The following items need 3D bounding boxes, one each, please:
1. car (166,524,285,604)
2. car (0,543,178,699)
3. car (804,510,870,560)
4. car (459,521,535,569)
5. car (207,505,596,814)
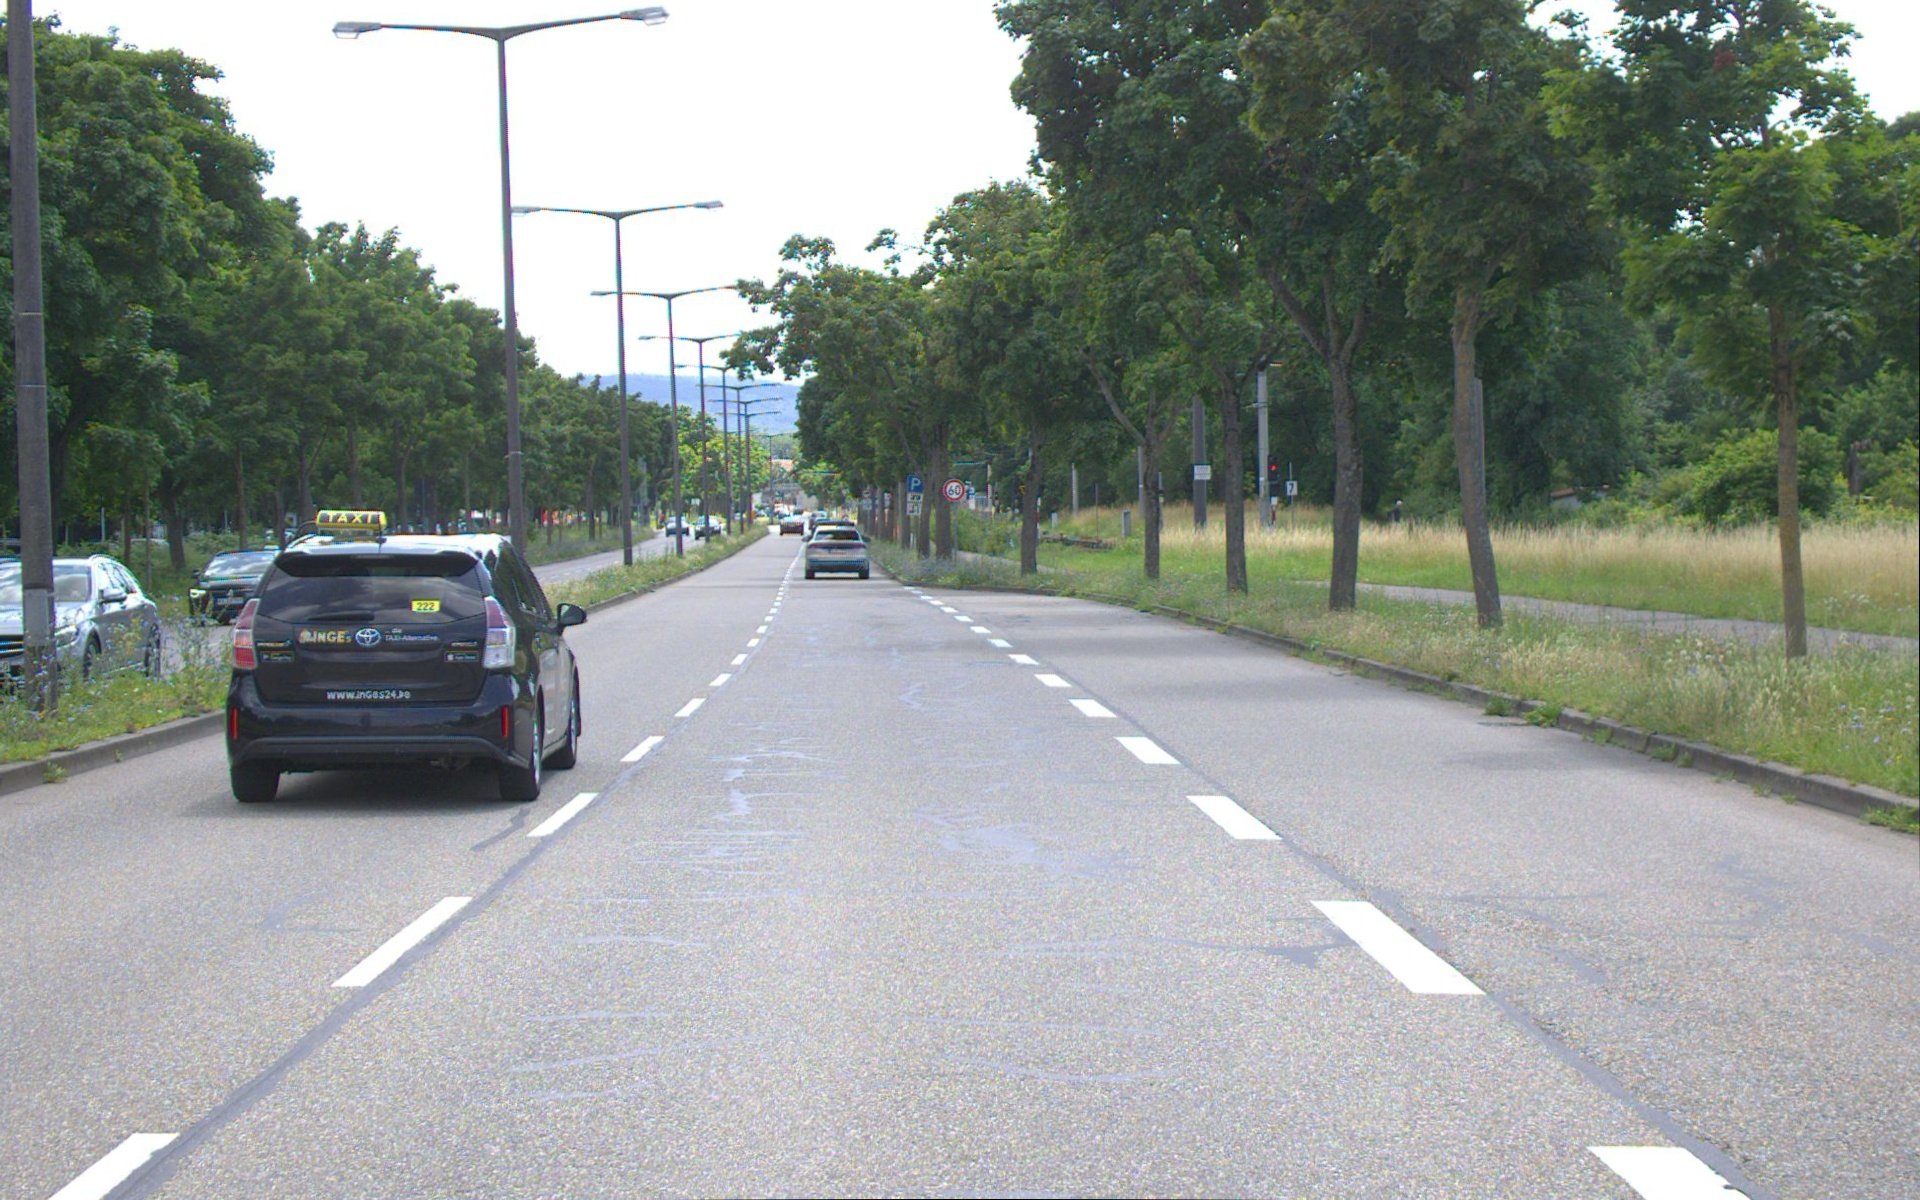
[{"bbox_3d":[-14.353,-0.736,67.381,1.754,1.454,4.470,0,2,-5],"label":"car"},{"bbox_3d":[-9.438,0.173,35.275,1.810,1.393,4.734,-1,2,-1],"label":"car"},{"bbox_3d":[-3.883,-2.064,108.039,1.993,1.503,4.001,0,2,-3],"label":"car"},{"bbox_3d":[-15.223,-1.819,113.244,1.879,1.503,3.797,0,2,2],"label":"car"},{"bbox_3d":[-3.291,0.276,20.958,1.779,1.678,4.001,0,2,-1],"label":"car"}]
